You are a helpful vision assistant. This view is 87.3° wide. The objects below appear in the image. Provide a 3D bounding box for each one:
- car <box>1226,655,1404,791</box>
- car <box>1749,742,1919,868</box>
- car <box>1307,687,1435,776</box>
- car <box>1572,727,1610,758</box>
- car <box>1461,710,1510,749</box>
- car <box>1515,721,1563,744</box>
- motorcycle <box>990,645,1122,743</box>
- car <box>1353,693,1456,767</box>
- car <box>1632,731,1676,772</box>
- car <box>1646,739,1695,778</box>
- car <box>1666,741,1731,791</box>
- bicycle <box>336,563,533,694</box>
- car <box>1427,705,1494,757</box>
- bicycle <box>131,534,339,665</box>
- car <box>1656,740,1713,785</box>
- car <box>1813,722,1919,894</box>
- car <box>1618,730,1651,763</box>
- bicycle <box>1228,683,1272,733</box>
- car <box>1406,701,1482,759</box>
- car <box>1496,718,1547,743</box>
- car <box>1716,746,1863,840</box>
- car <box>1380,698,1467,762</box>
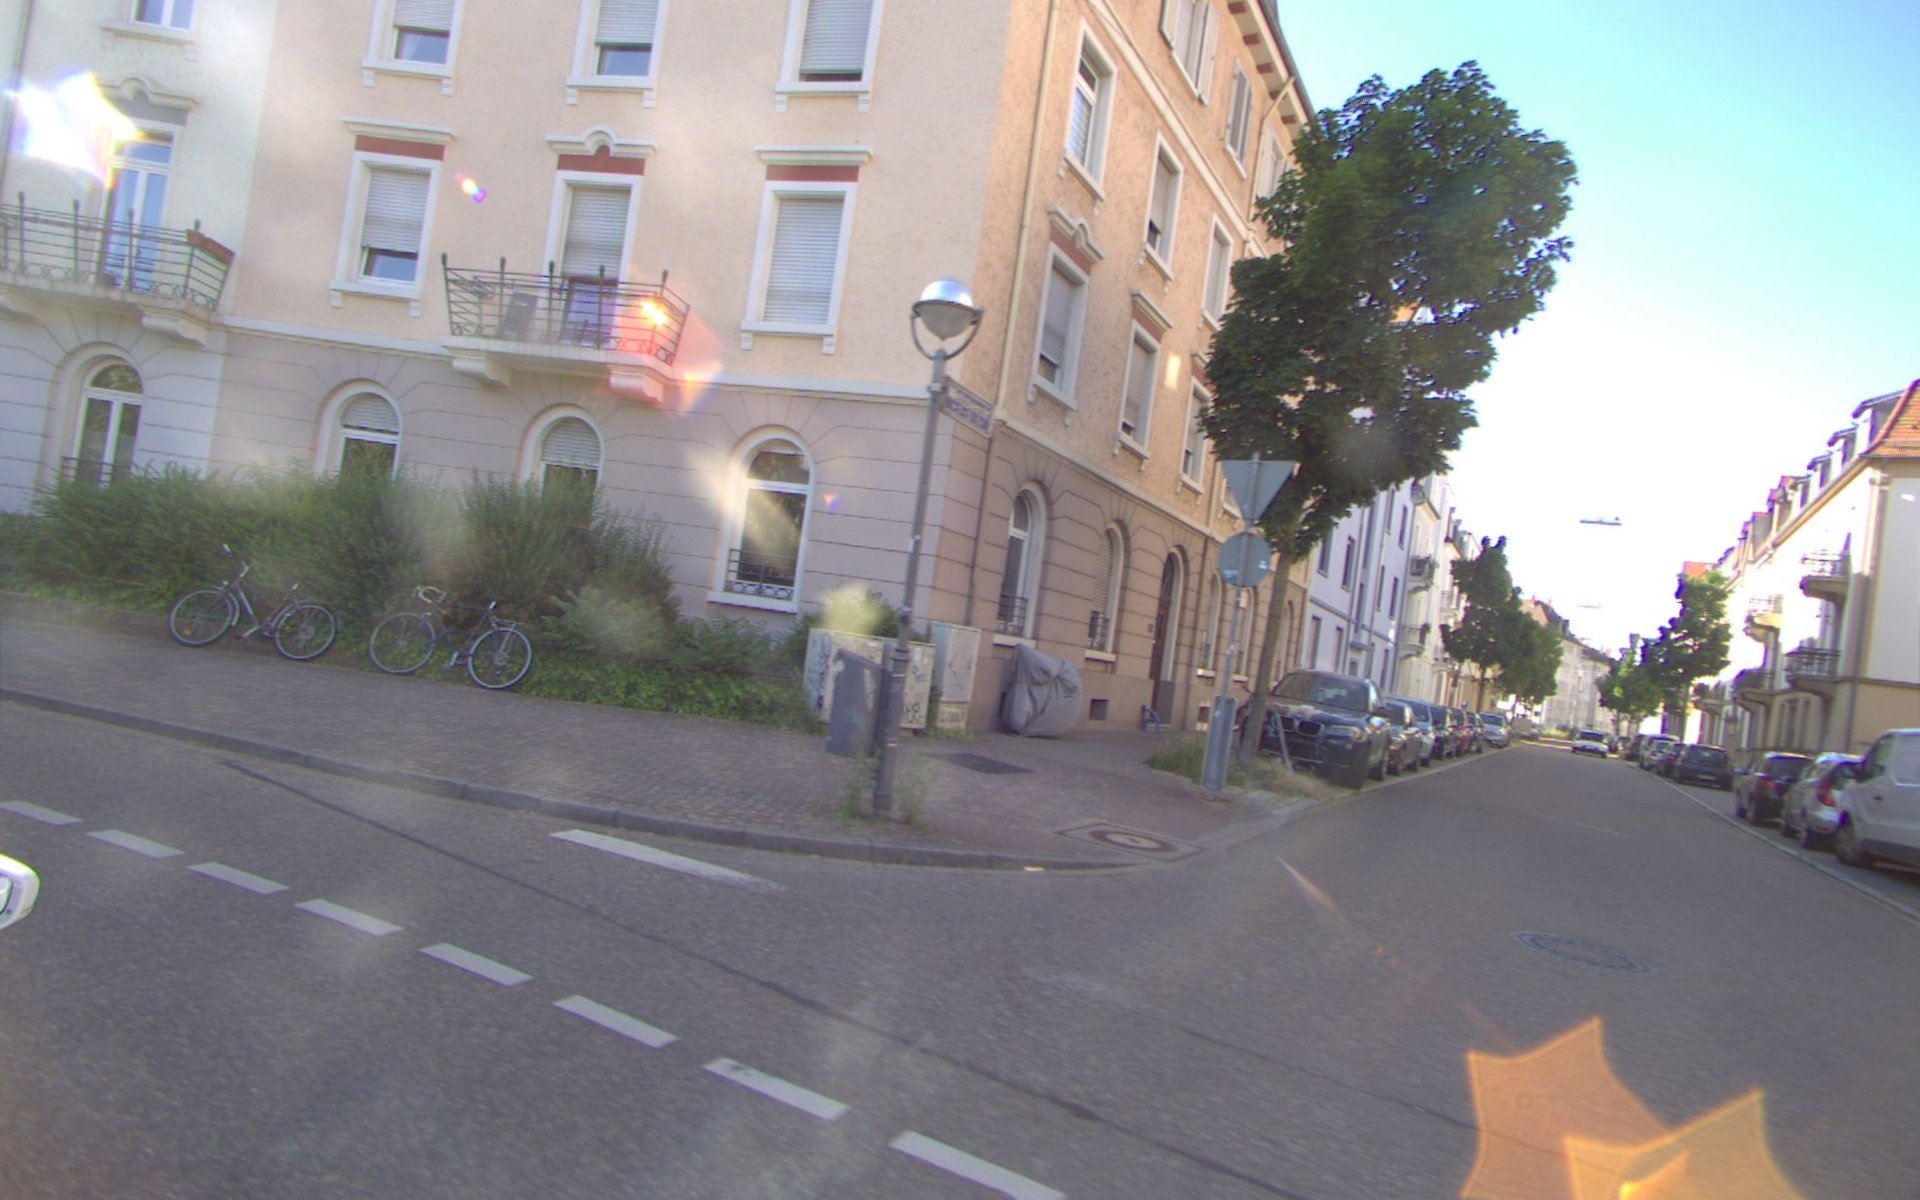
[{"bbox_3d":[5.906,1.974,16.371,1.876,1.660,4.345,7,-3,29],"label":"car"},{"bbox_3d":[14.781,3.348,16.940,1.610,1.590,3.736,7,-3,29],"label":"car"},{"bbox_3d":[8.497,2.683,20.629,1.674,1.427,3.658,7,-3,33],"label":"car"},{"bbox_3d":[37.045,8.335,59.031,1.612,1.499,3.328,7,-3,35],"label":"car"},{"bbox_3d":[25.626,6.316,49.017,1.674,1.542,3.765,7,-3,33],"label":"car"},{"bbox_3d":[53.904,12.337,93.642,3.706,1.542,1.700,7,-2,31],"label":"car"},{"bbox_3d":[1.474,1.418,15.023,0.927,1.234,2.150,9,-1,33],"label":"motorcycle"},{"bbox_3d":[11.377,3.305,25.614,1.674,1.502,3.997,7,-3,33],"label":"car"},{"bbox_3d":[34.945,7.607,50.679,1.612,1.766,3.328,7,-3,35],"label":"car"},{"bbox_3d":[32.391,7.189,45.908,1.612,1.444,3.328,7,-3,35],"label":"car"},{"bbox_3d":[26.629,5.957,36.346,1.612,1.444,3.328,7,-3,35],"label":"car"},{"bbox_3d":[-5.417,0.292,10.424,1.656,1.102,0.502,8,1,-1],"label":"bicycle"},{"bbox_3d":[18.536,4.845,37.203,1.674,1.542,3.765,7,-3,33],"label":"car"},{"bbox_3d":[-7.469,0.000,10.400,1.656,1.102,0.502,8,1,-1],"label":"bicycle"},{"bbox_3d":[28.904,6.443,40.183,1.612,1.444,3.328,7,-3,35],"label":"car"},{"bbox_3d":[12.467,2.605,12.130,2.104,1.930,4.562,7,-3,27],"label":"car"},{"bbox_3d":[41.855,9.100,62.444,1.487,1.766,3.328,7,-3,35],"label":"car"},{"bbox_3d":[7.207,2.692,24.962,0.492,1.120,1.798,7,-2,31],"label":"bicycle"},{"bbox_3d":[15.921,4.282,33.022,1.674,1.542,3.765,7,-3,33],"label":"car"},{"bbox_3d":[48.675,11.284,87.190,3.706,1.542,1.700,7,-2,31],"label":"car"},{"bbox_3d":[16.985,3.899,20.760,1.610,1.444,3.332,7,-3,29],"label":"car"},{"bbox_3d":[13.604,3.789,29.426,1.674,1.502,3.765,7,-3,33],"label":"car"}]
